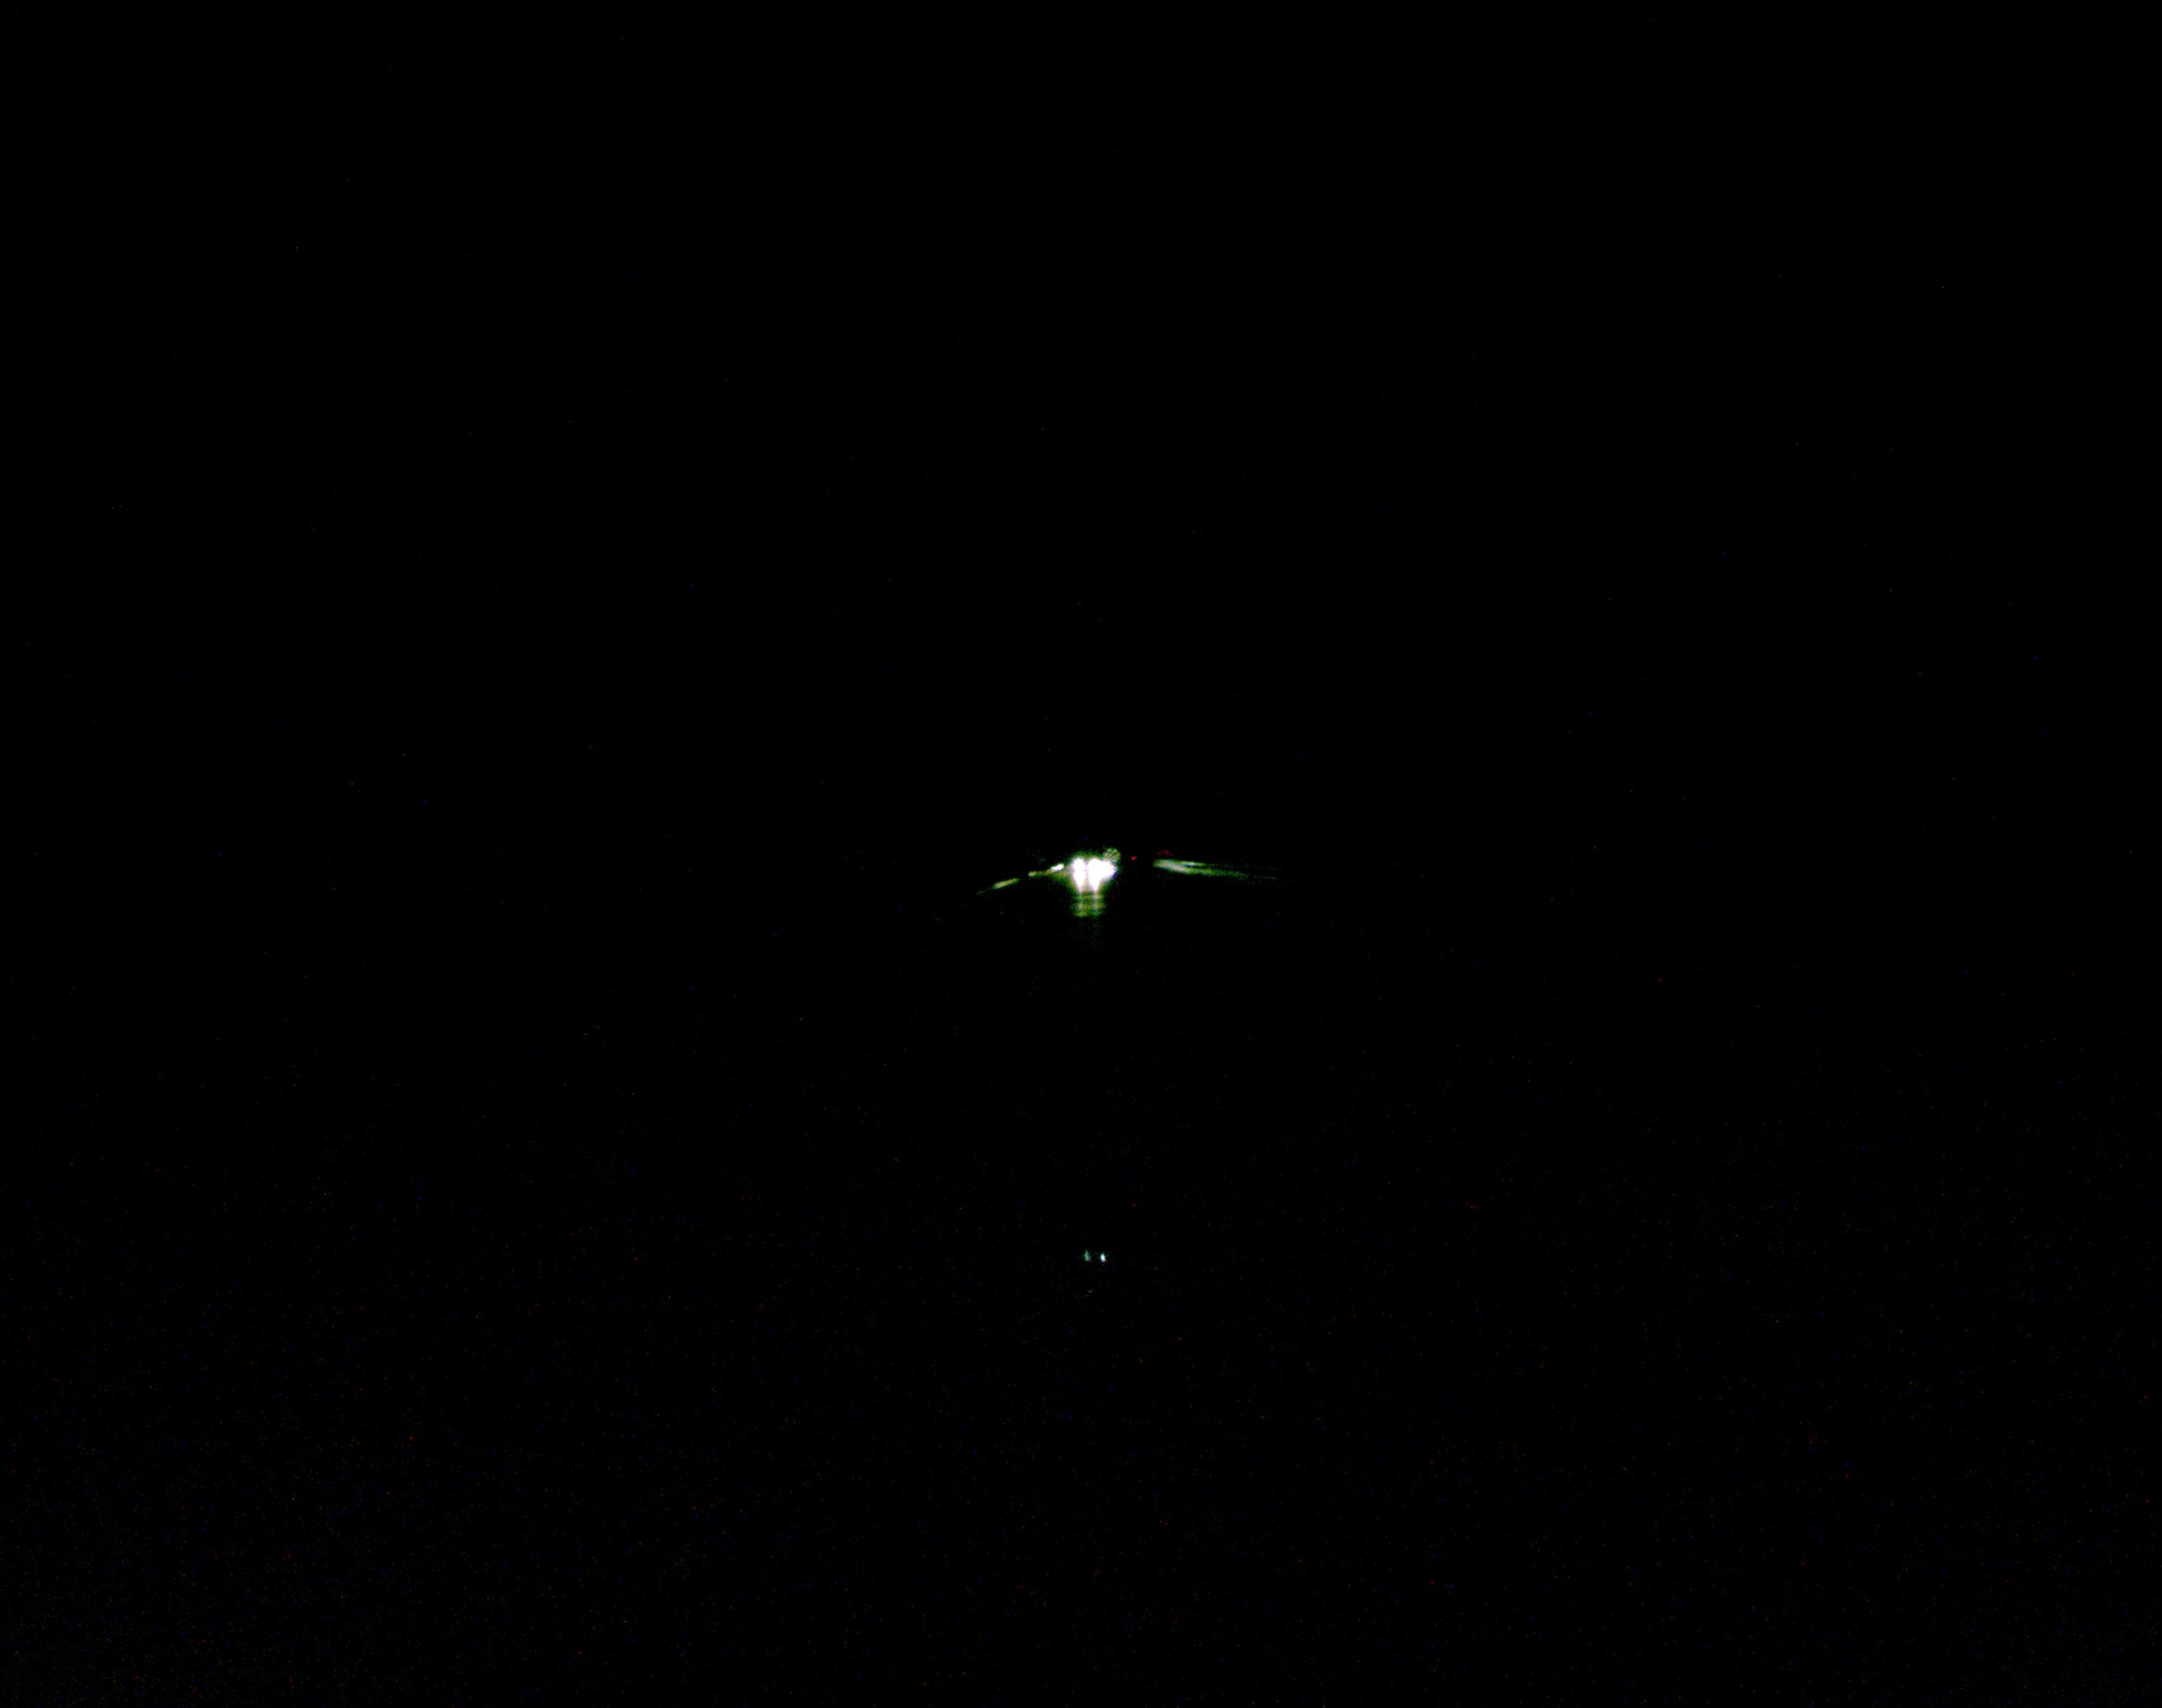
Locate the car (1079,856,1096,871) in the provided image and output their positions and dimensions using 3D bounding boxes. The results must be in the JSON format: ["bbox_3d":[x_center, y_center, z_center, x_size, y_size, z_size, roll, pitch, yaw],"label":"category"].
[{"bbox_3d":[0.698,1.024,83.992,1.807,1.452,4.275,-3,0,0],"label":"car"}]
